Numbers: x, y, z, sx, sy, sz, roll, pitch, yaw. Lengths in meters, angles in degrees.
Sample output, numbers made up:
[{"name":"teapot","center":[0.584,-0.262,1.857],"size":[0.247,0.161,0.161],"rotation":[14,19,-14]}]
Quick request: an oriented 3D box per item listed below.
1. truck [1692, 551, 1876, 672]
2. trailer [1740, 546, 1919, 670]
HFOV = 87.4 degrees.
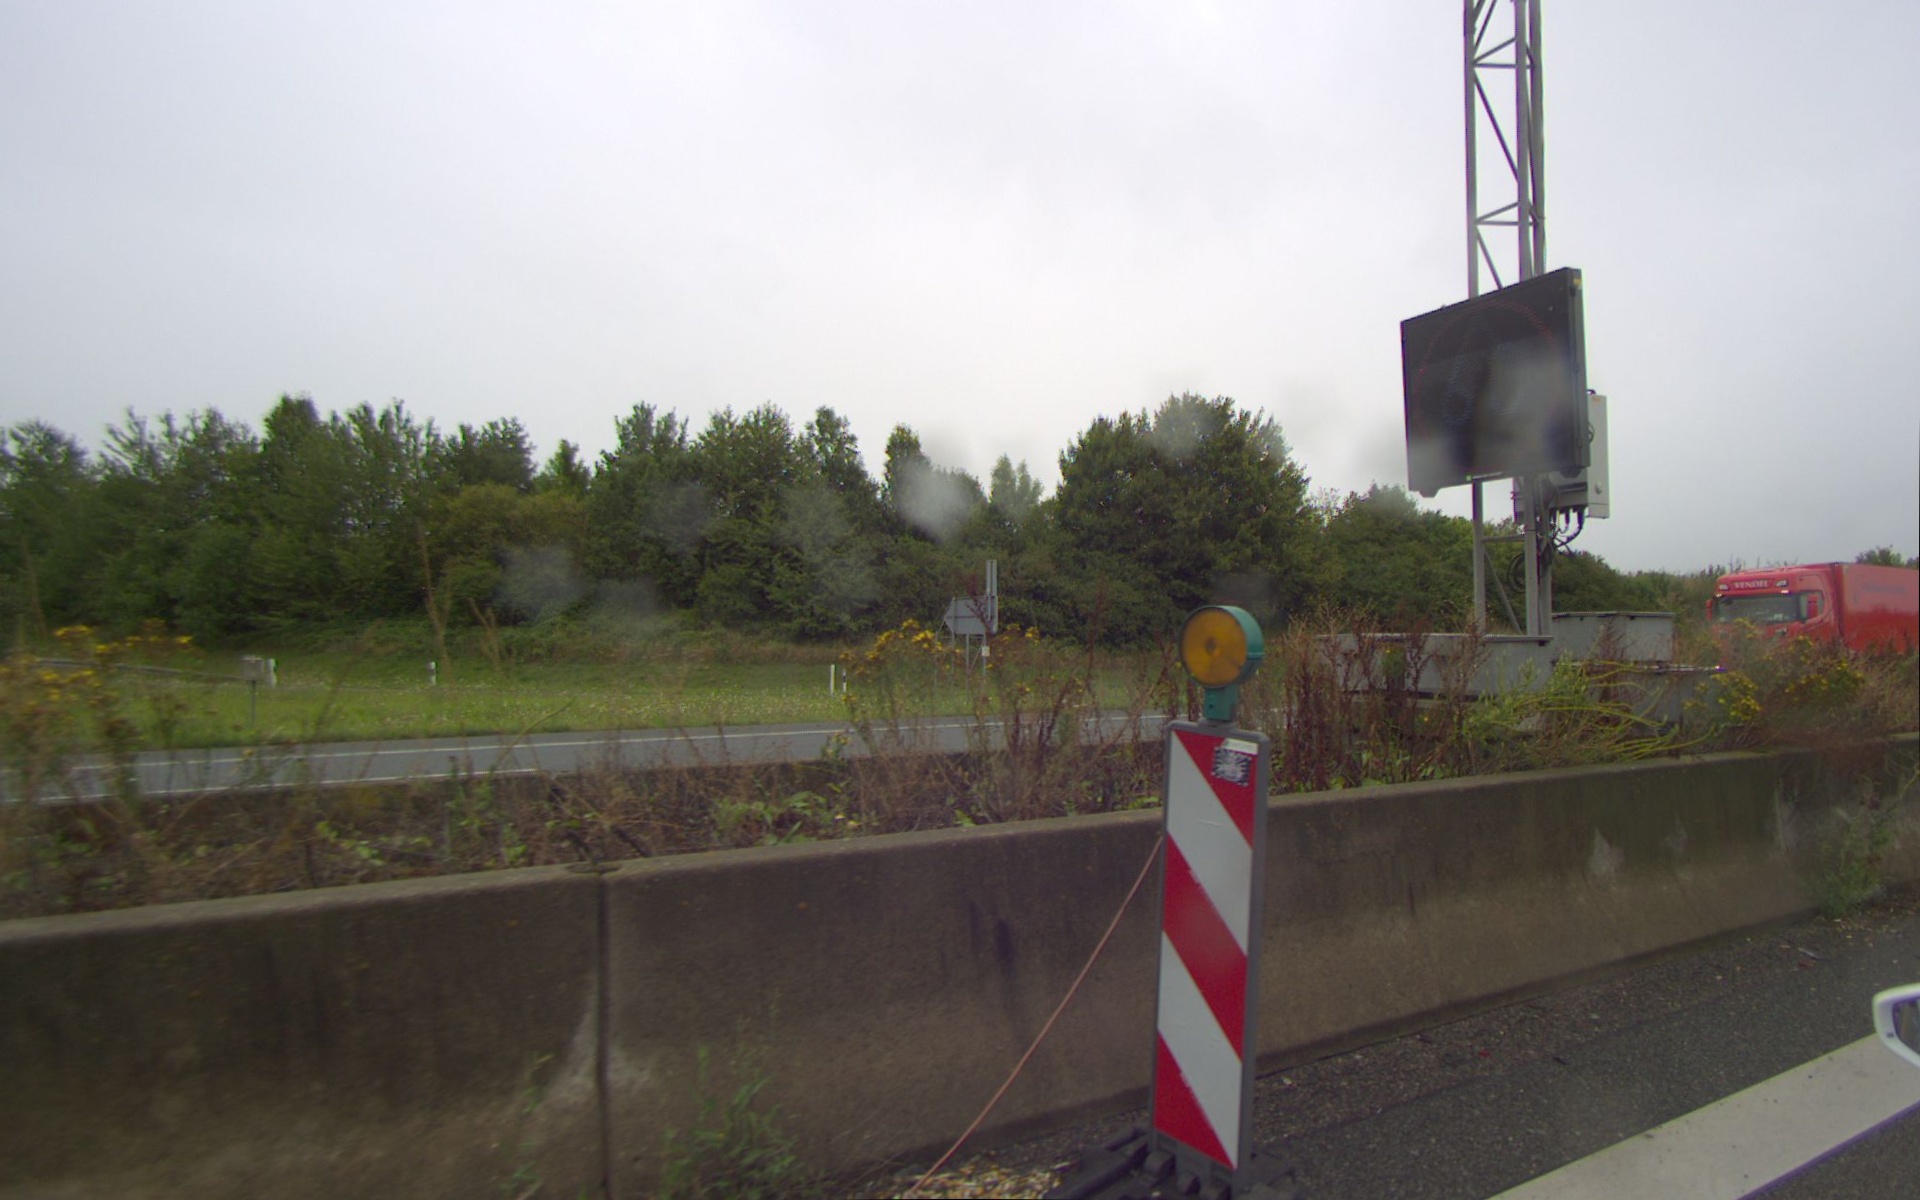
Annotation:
[{"name":"truck","center":[26.461,0.419,32.267],"size":[4.868,3.578,3.010],"rotation":[2,0,-30]},{"name":"trailer","center":[33.120,0.476,36.088],"size":[13.812,3.865,3.023],"rotation":[2,0,-30]}]
